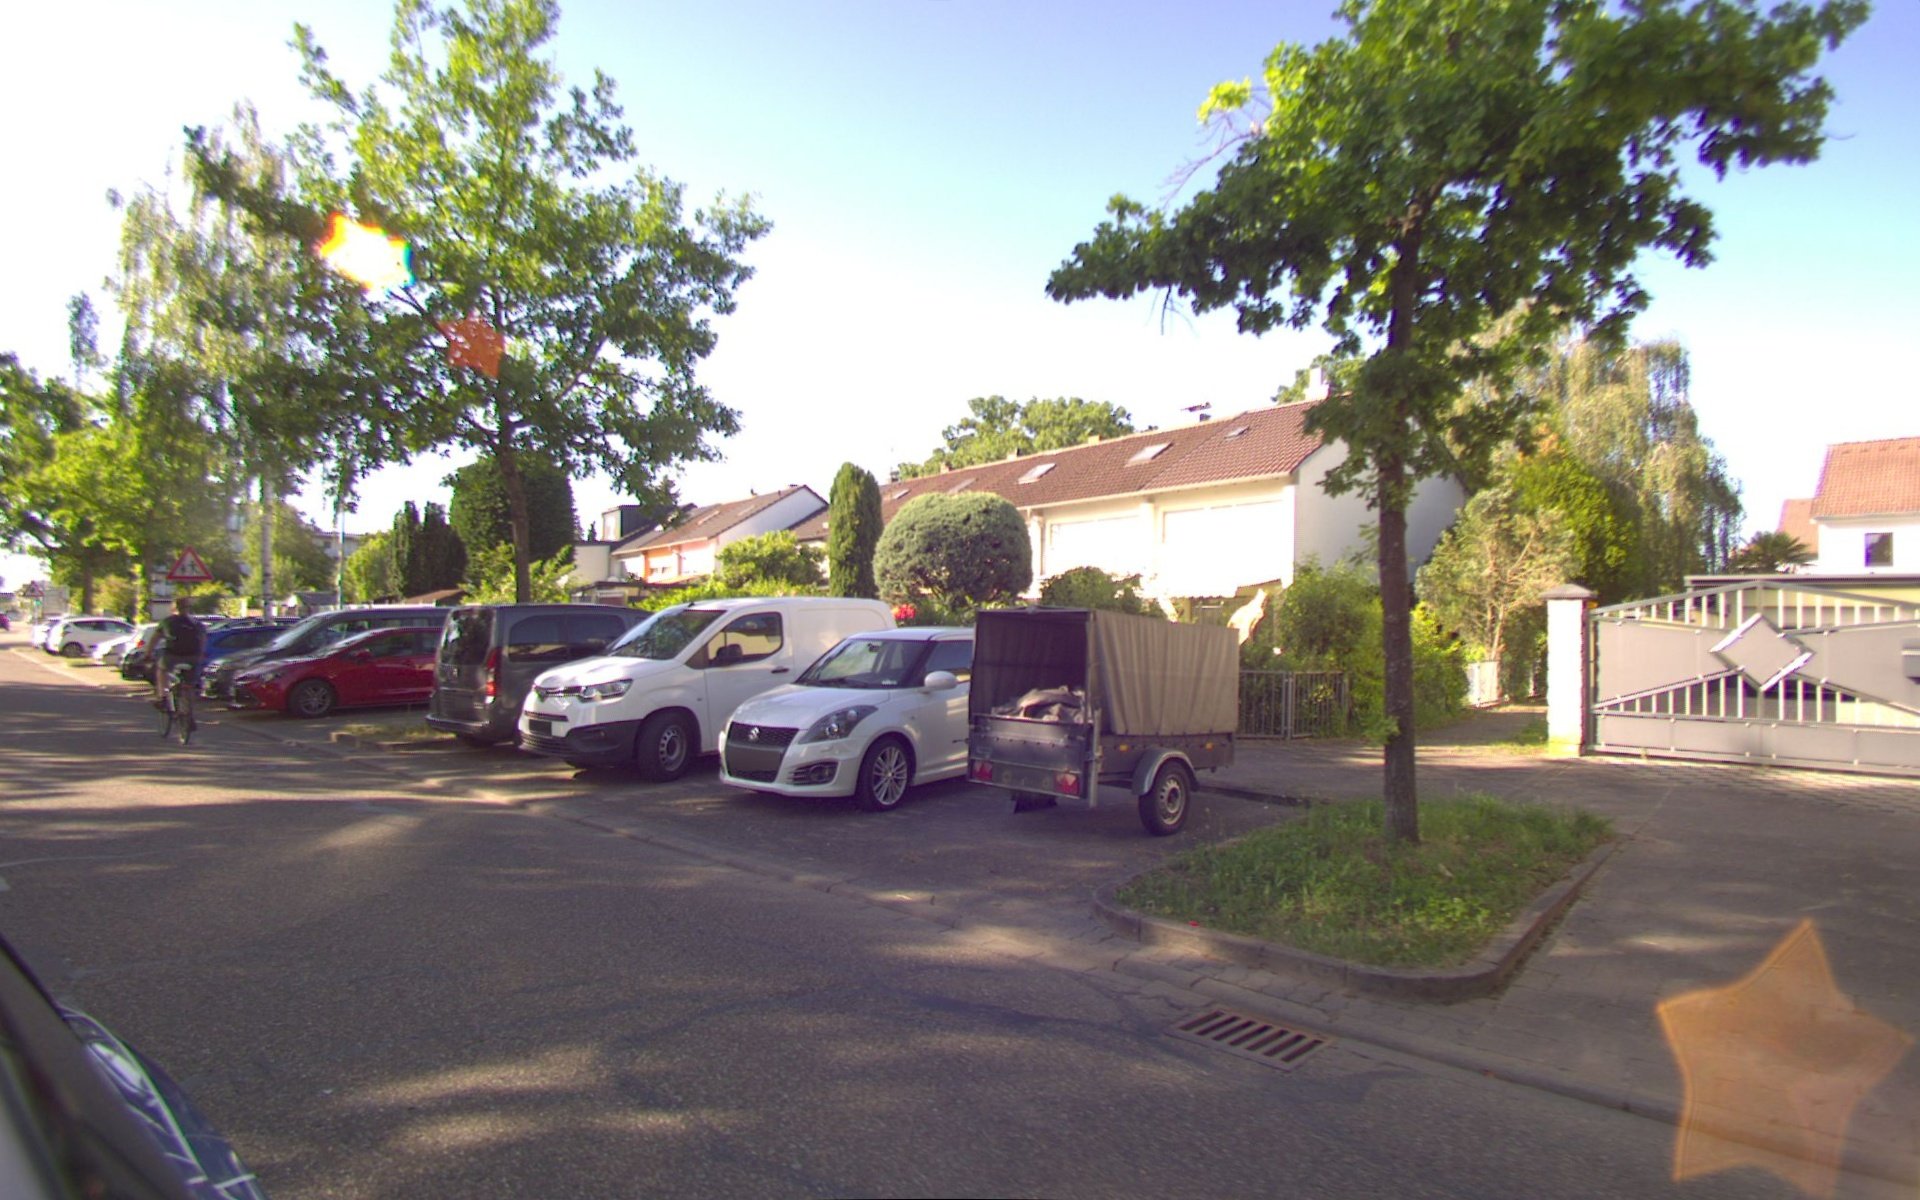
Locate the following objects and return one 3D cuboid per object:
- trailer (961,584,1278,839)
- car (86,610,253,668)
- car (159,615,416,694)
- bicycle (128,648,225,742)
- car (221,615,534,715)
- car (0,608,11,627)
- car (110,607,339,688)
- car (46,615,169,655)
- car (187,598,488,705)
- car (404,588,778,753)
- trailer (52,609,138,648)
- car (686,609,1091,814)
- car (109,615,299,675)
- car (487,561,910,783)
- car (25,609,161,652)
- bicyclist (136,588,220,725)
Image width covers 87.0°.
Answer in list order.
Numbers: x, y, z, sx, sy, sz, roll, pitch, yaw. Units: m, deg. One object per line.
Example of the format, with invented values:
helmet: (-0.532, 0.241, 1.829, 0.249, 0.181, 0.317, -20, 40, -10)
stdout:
trailer: (1.303, 0.769, 8.018, 1.475, 1.686, 2.210, -1, -2, 45)
car: (-24.628, 1.174, 31.614, 1.706, 1.626, 3.895, -1, 0, 44)
car: (-13.958, 1.053, 21.196, 1.723, 1.435, 4.225, -1, 0, 42)
bicycle: (-10.080, 1.190, 12.987, 1.986, 1.066, 0.590, 0, -4, 42)
car: (-10.024, 1.019, 17.676, 1.837, 1.511, 4.426, 0, -1, 44)
car: (-82.516, 1.469, 86.621, 1.740, 1.489, 3.853, 5, -3, -45)
car: (-17.458, 1.049, 24.180, 1.760, 1.737, 4.165, 0, 0, 42)
car: (-33.574, 1.349, 39.904, 1.707, 1.507, 3.478, -1, -2, 40)
car: (-11.808, 0.880, 19.478, 1.794, 1.782, 4.625, -1, 0, 41)
car: (-4.624, 0.765, 13.205, 1.965, 1.783, 4.197, 0, 0, 38)
trailer: (-38.863, 1.262, 45.516, 1.298, 1.659, 2.732, 2, 0, 38)
car: (-0.472, 0.853, 9.681, 1.688, 1.528, 3.949, 0, 0, 38)
car: (-20.871, 1.216, 28.052, 1.795, 1.526, 3.957, 0, -2, 43)
car: (-2.675, 0.686, 11.205, 1.998, 1.959, 4.195, -1, -2, 38)
car: (-35.534, 1.213, 41.551, 1.918, 1.586, 3.918, 1, 0, 36)
bicyclist: (-10.042, 0.717, 12.991, 0.975, 1.687, 0.589, 0, -4, 42)
